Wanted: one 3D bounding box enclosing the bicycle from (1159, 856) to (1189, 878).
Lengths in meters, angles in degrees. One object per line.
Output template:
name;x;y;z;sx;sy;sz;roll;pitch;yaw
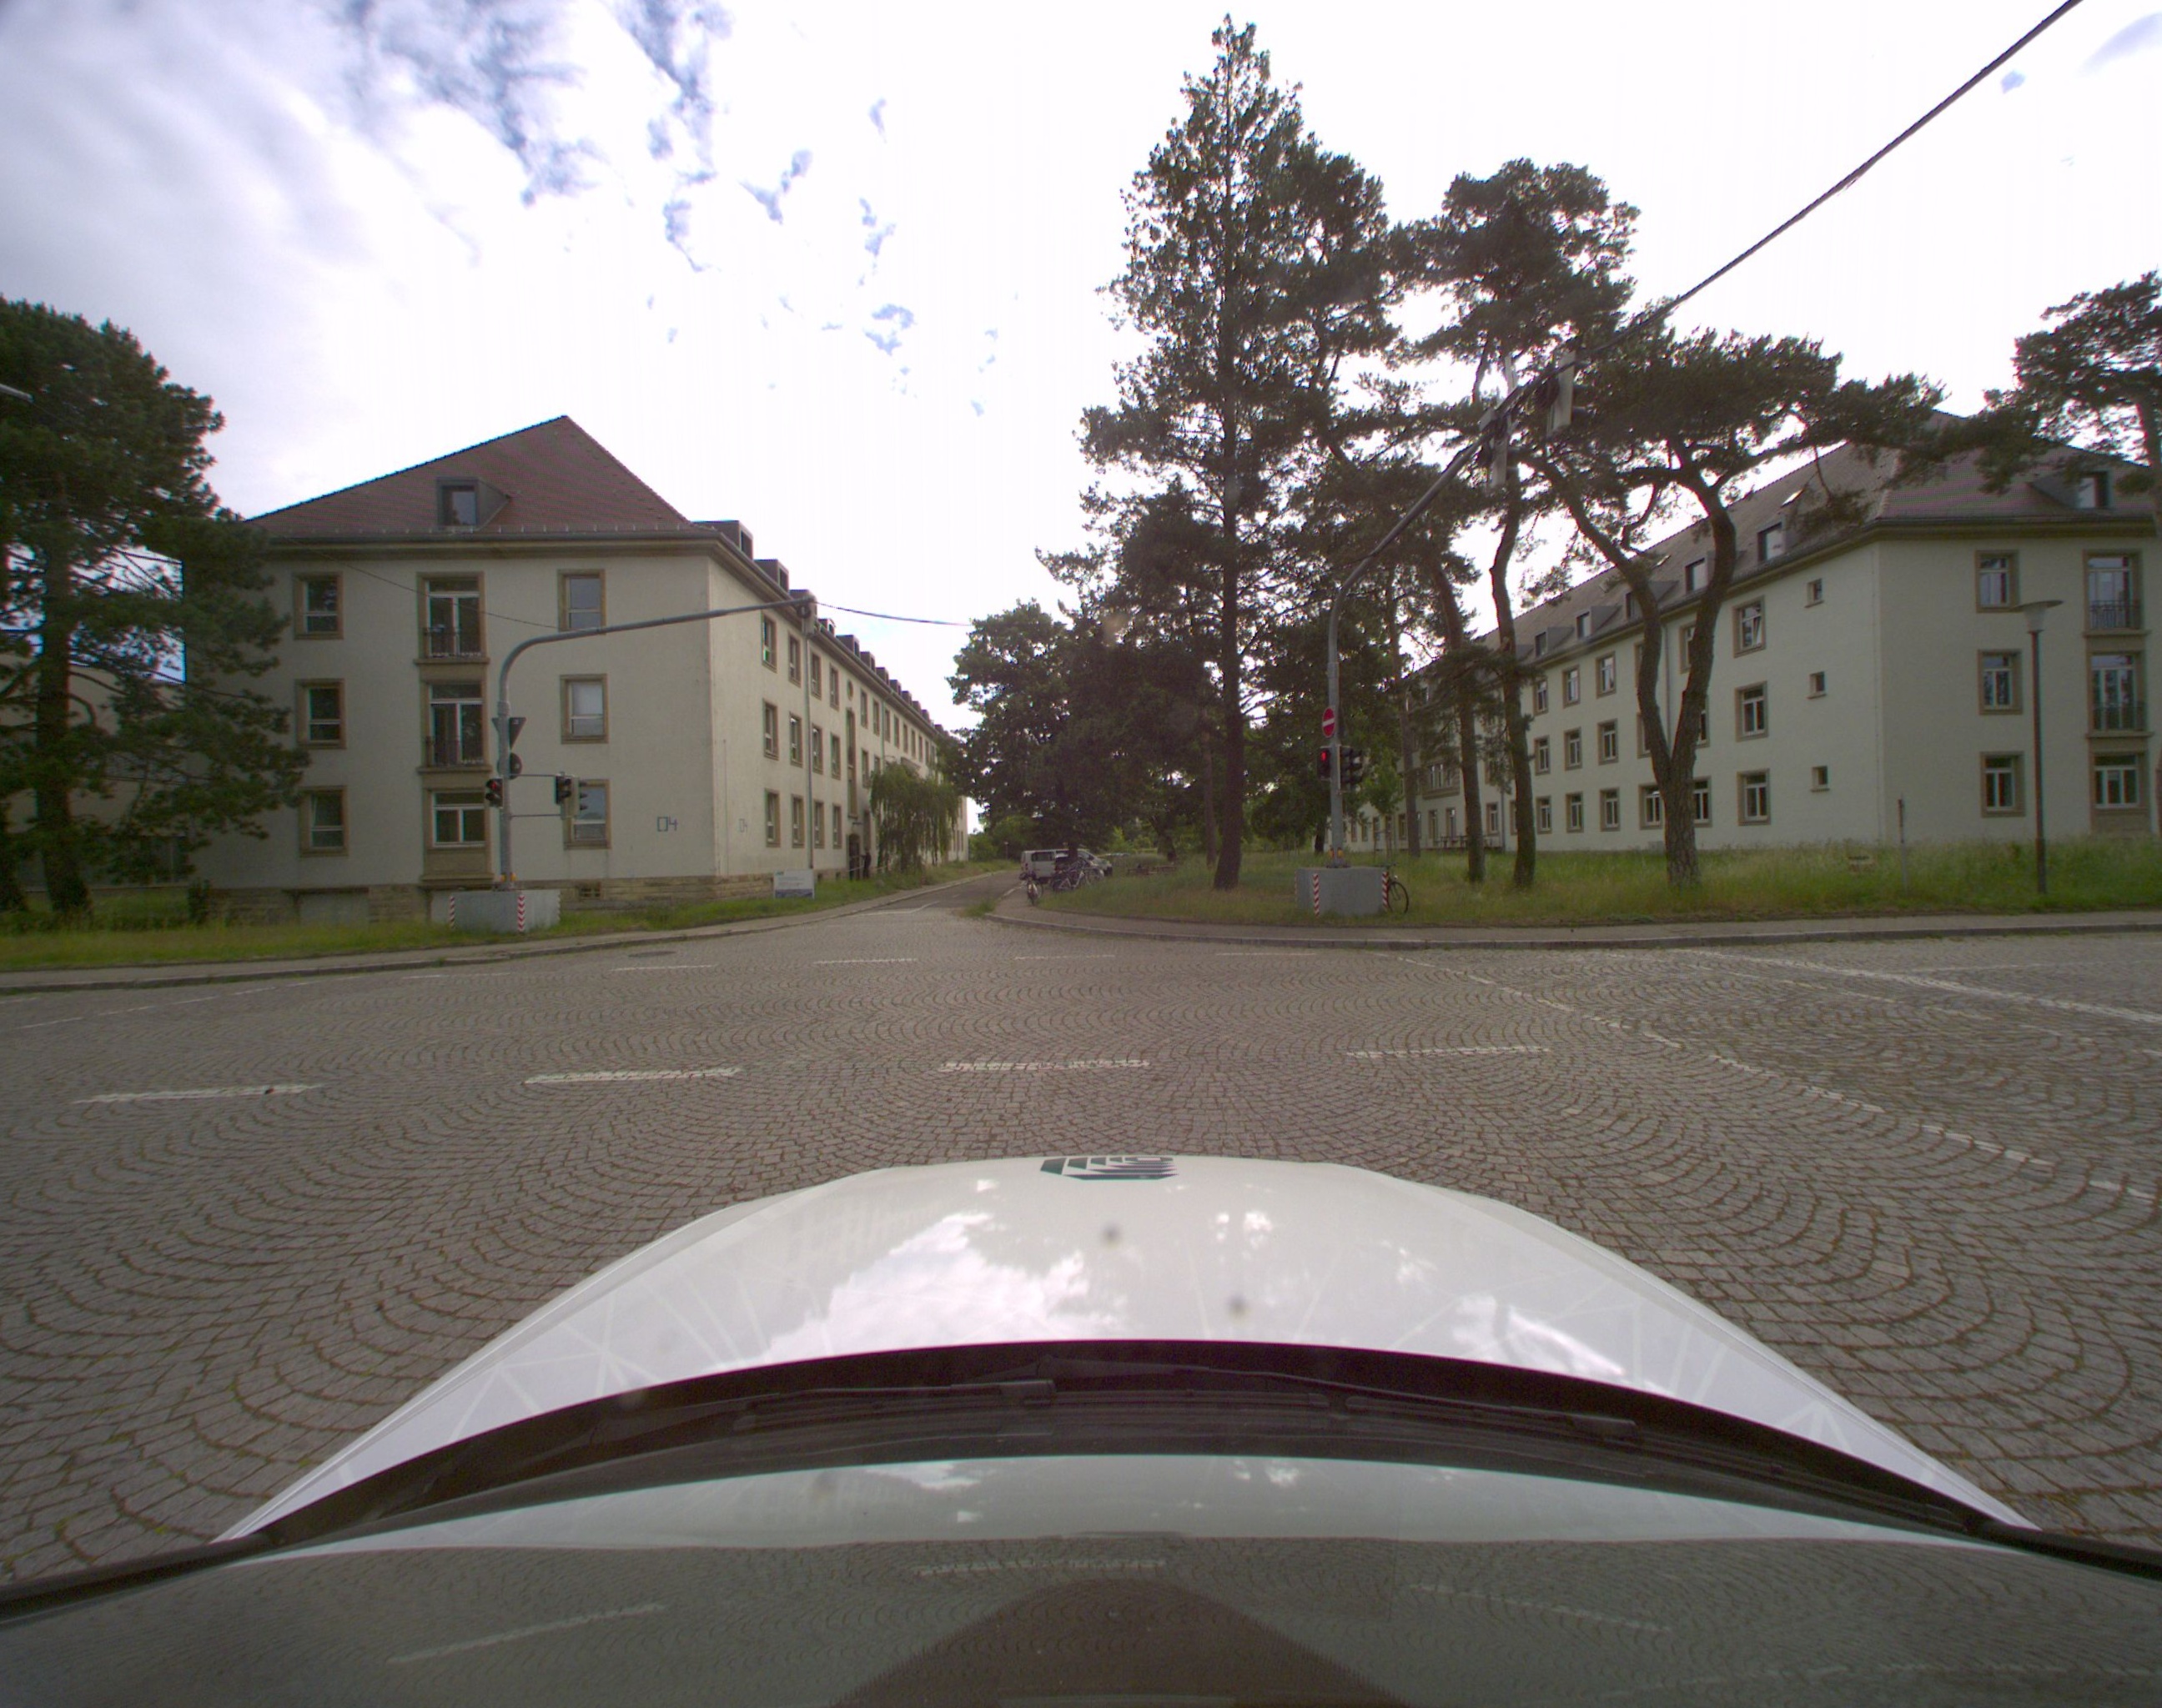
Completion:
bicycle;4.941;0.689;43.357;1.544;1.124;0.401;-1;-1;0

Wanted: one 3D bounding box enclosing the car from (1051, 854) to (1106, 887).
car;-0.143;0.864;43.069;2.840;1.558;1.471;-2;1;-2

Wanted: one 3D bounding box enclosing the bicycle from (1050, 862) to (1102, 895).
bicycle;-0.212;0.928;31.491;1.978;1.248;0.623;0;-1;-3

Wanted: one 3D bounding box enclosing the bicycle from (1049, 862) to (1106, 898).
bicycle;-0.132;0.901;28.446;1.978;1.248;0.623;0;-1;-3

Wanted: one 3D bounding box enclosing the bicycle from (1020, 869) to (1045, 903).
bicycle;-1.607;1.045;26.989;0.619;1.082;1.679;0;-1;3

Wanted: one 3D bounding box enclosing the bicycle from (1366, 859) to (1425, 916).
bicycle;6.216;0.638;16.176;0.578;0.970;1.679;-3;1;3

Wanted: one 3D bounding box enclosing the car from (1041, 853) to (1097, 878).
car;-0.887;0.812;60.413;4.021;1.718;1.679;-2;-1;-3

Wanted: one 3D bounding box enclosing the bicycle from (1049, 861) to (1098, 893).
bicycle;-0.329;0.956;34.758;1.978;1.248;0.623;-3;-1;-3

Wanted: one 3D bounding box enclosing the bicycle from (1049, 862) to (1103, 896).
bicycle;-0.183;0.915;29.999;1.978;1.248;0.623;0;-1;-3

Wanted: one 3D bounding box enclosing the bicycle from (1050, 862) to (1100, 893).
bicycle;-0.251;0.942;33.093;1.978;1.248;0.623;0;-1;-3

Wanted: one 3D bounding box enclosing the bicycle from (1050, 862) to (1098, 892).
bicycle;-0.313;0.951;34.099;1.978;1.248;0.623;0;-1;-3

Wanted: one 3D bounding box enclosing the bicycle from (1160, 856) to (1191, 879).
bicycle;4.893;0.682;42.125;1.544;1.124;0.401;-1;-1;0

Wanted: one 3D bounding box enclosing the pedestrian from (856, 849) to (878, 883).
pedestrian;-11.576;0.657;44.092;0.833;1.781;0.942;-1;0;4

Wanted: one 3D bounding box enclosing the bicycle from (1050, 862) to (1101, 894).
bicycle;-0.209;0.932;32.016;1.978;1.248;0.623;0;-1;-3

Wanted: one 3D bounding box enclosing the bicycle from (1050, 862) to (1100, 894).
bicycle;-0.251;0.936;32.422;1.978;1.248;0.623;0;-1;-3

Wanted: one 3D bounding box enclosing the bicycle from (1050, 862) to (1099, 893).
bicycle;-0.285;0.946;33.605;1.978;1.248;0.623;0;-1;-3

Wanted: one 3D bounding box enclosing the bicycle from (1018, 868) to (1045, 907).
bicycle;-1.495;1.012;25.038;0.620;1.113;1.990;0;-1;2

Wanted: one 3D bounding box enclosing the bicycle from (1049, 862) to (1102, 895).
bicycle;-0.203;0.922;30.858;1.978;1.248;0.623;0;-1;-3

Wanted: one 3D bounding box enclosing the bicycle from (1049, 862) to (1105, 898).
bicycle;-0.147;0.906;29.074;1.978;1.248;0.623;0;-1;-3

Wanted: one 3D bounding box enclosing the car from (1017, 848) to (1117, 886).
car;-0.828;0.720;46.529;5.315;1.916;2.138;-2;0;-16
